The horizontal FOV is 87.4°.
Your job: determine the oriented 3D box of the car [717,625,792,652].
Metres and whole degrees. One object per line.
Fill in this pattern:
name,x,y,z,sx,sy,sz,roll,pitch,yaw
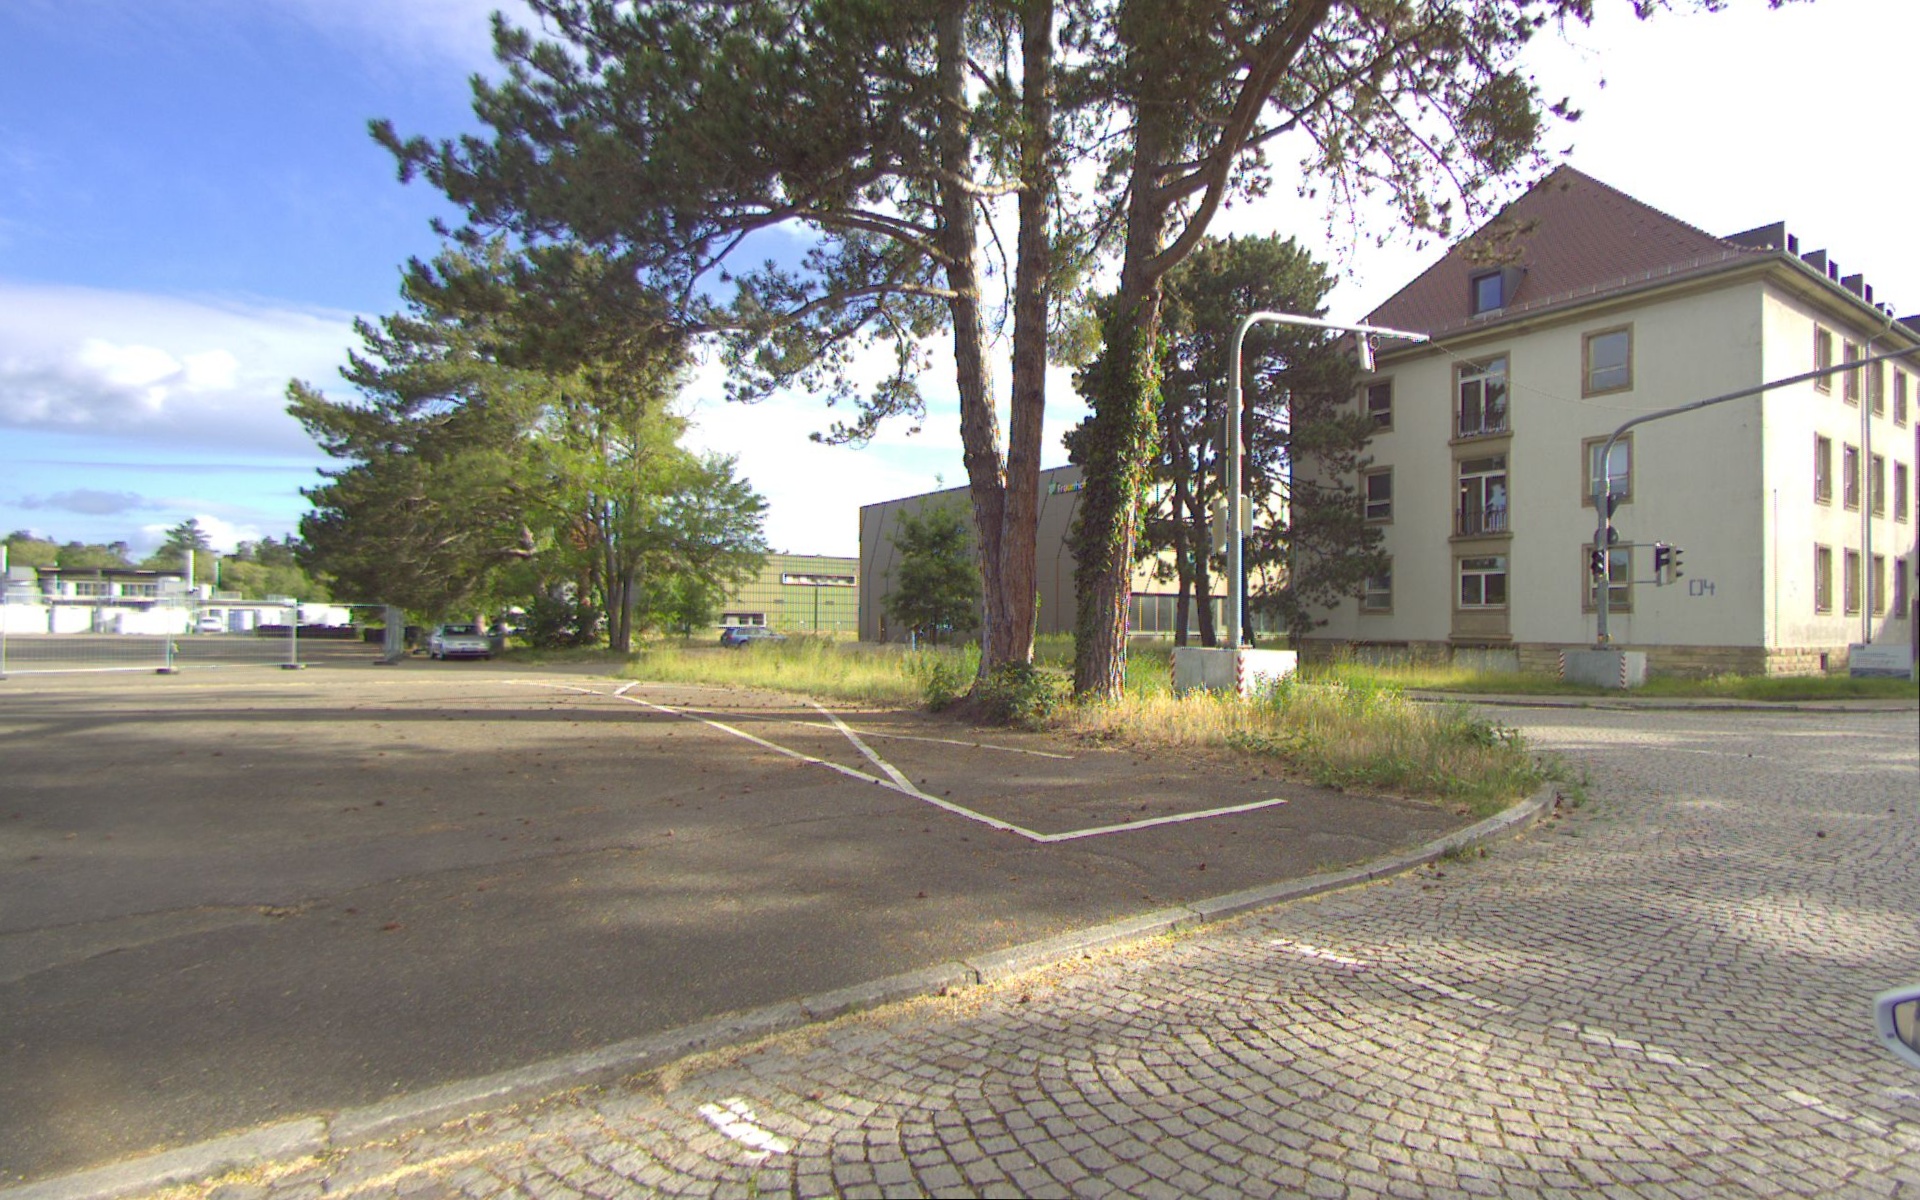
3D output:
car,-12.564,2.387,61.536,4.119,1.580,1.790,2,-2,-38

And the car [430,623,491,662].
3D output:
car,-19.450,1.622,39.008,1.648,1.400,3.963,2,-2,-33

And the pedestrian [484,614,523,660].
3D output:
pedestrian,-18.142,1.472,39.912,0.862,1.767,1.095,1,-1,25

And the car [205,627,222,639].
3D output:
car,-108.955,4.832,146.546,1.840,1.694,4.154,2,-2,-38
